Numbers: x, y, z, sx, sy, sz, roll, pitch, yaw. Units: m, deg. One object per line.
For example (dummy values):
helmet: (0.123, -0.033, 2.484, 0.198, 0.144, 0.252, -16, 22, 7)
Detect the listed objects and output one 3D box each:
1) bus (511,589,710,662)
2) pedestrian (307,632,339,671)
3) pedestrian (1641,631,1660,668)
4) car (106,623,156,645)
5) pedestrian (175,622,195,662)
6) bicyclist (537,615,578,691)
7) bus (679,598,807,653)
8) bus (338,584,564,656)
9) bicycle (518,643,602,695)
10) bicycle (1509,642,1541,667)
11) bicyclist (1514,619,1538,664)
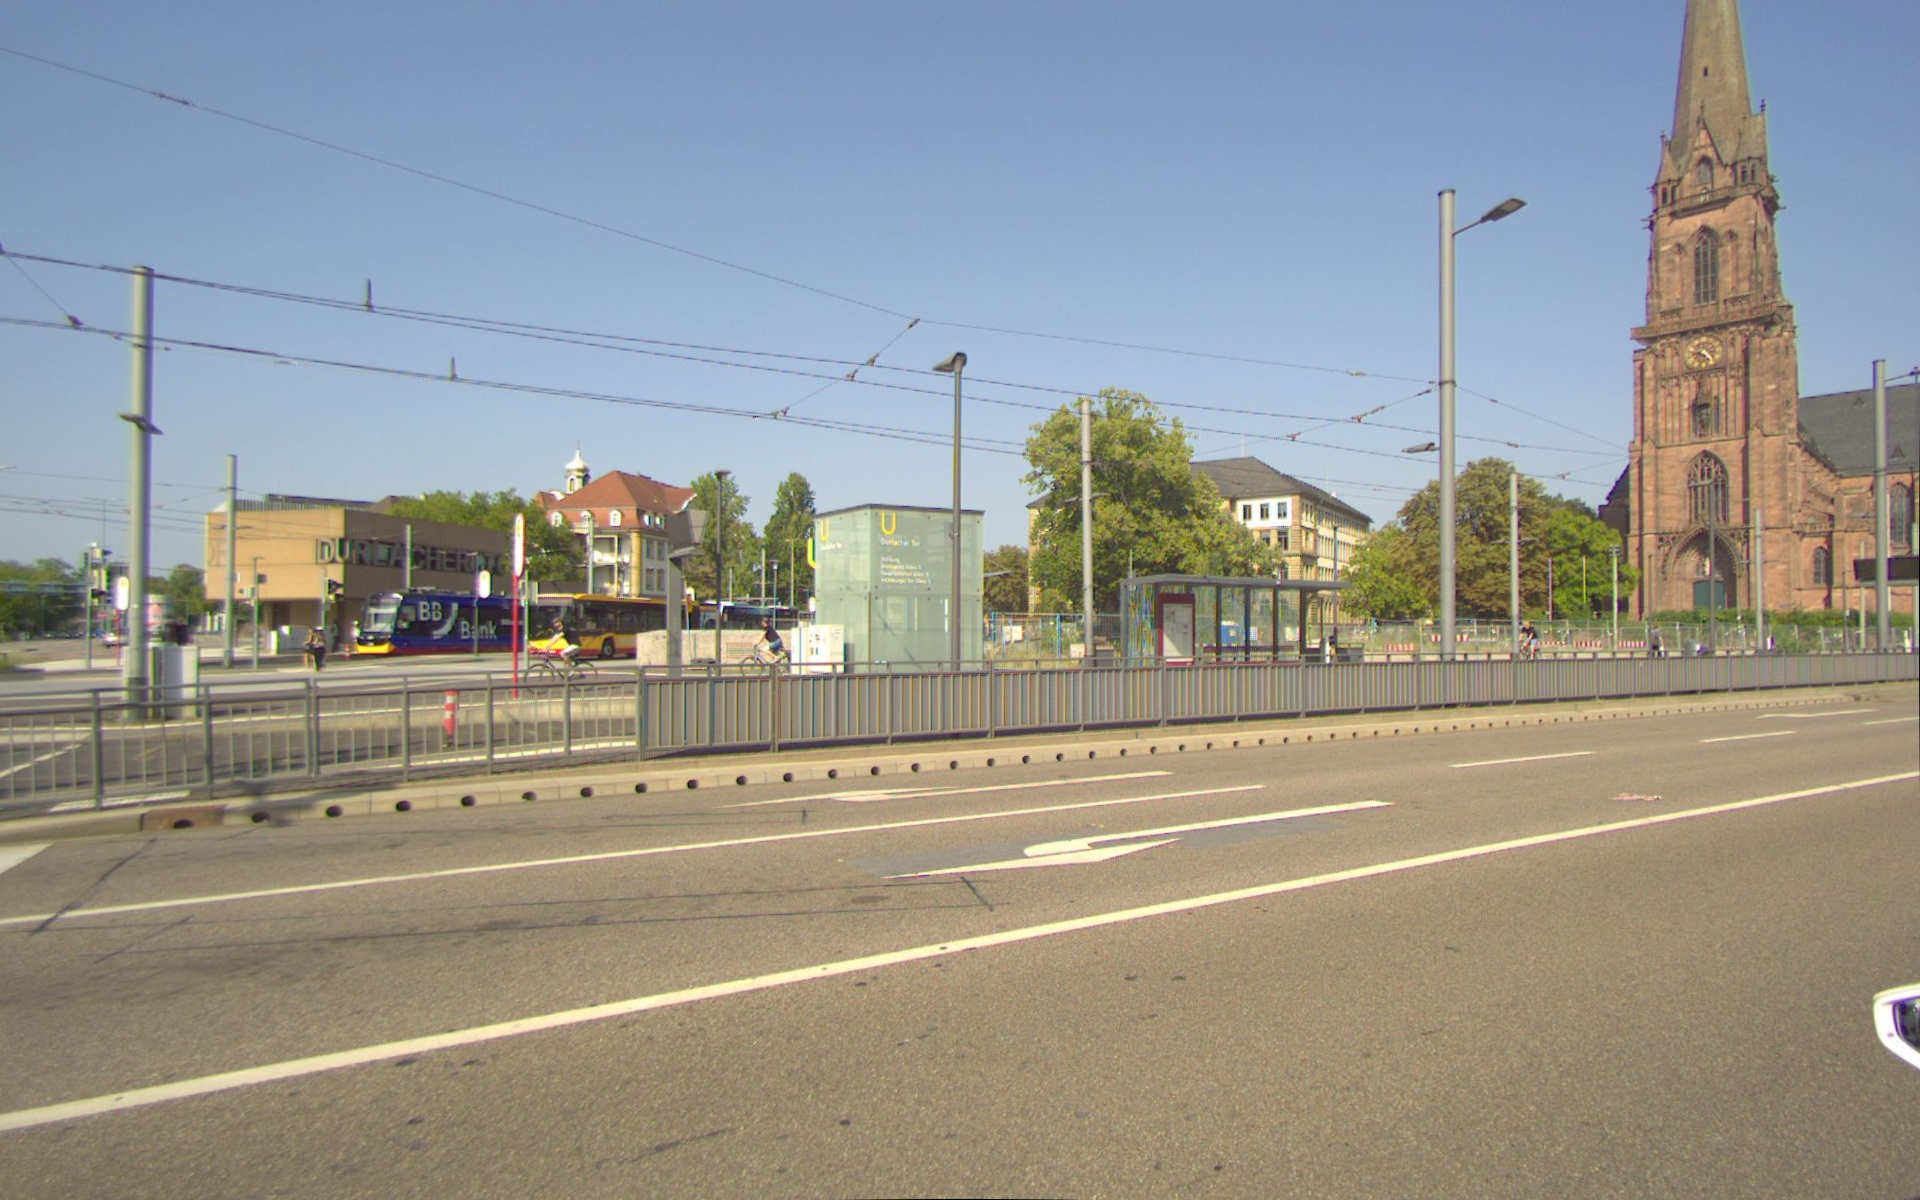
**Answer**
bus: (-17.188, 1.342, 51.150, 3.159, 3.220, 13.326, 0, -2, 12)
pedestrian: (-21.710, 1.739, 34.238, 0.752, 1.309, 0.558, 0, -1, 13)
pedestrian: (32.583, 2.323, 47.390, 0.657, 1.723, 0.514, 1, -1, -31)
car: (-59.375, 2.406, 72.008, 1.758, 1.528, 3.976, 1, -2, -24)
pedestrian: (-34.863, 1.868, 45.174, 0.395, 1.792, 0.559, 0, -1, 16)
bicyclist: (-9.079, 1.184, 22.644, 0.781, 1.678, 0.584, 1, -2, -30)
bus: (-13.829, 1.707, 65.828, 3.159, 3.220, 13.327, 0, -2, 11)
bus: (-27.157, 1.174, 54.960, 3.160, 3.464, 13.326, 0, -2, 13)
bicycle: (-9.024, 1.540, 22.680, 1.727, 1.124, 0.399, 1, -2, -32)
bicycle: (22.861, 2.207, 40.633, 1.675, 0.966, 0.348, 1, -2, -30)
bicyclist: (22.846, 1.665, 40.552, 0.809, 1.770, 0.484, 1, -2, -30)
